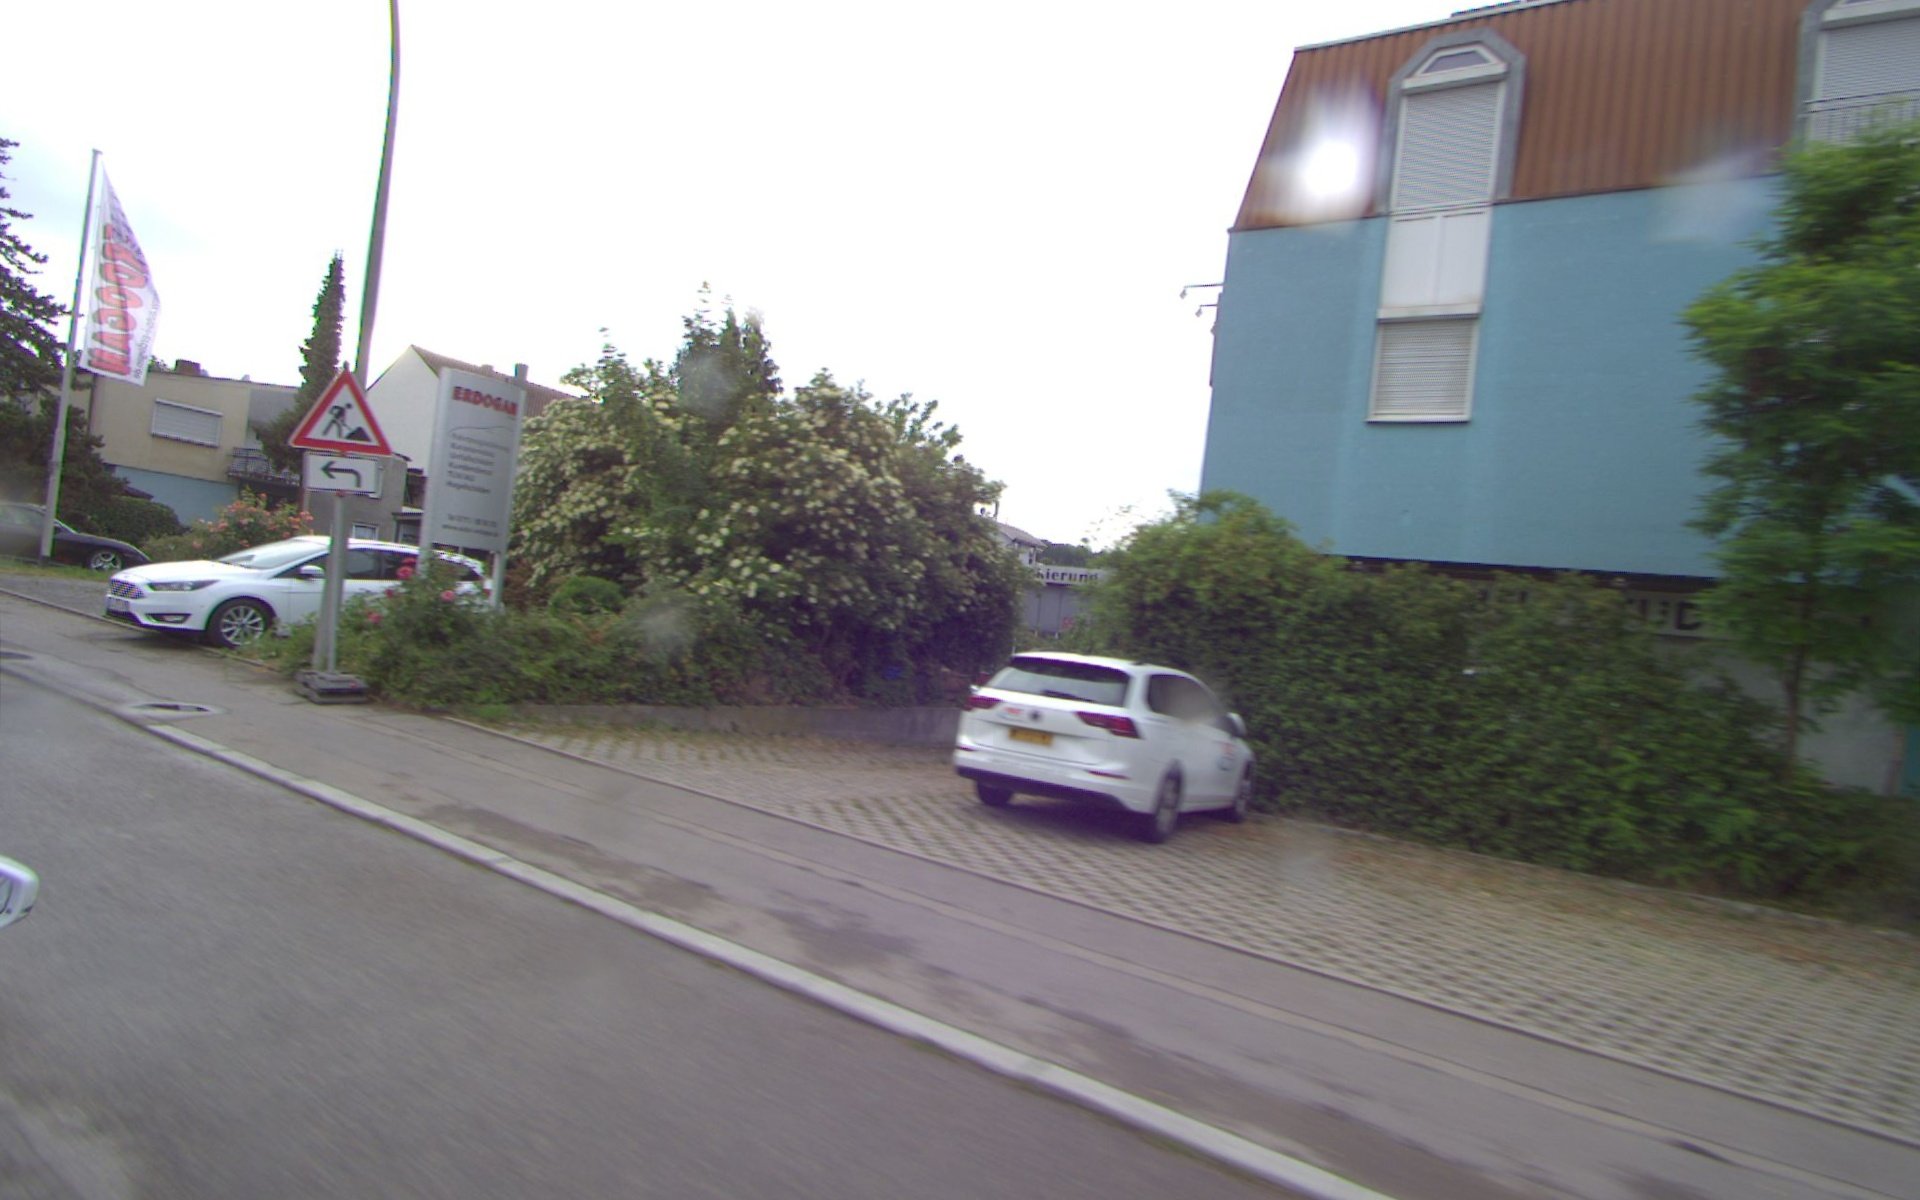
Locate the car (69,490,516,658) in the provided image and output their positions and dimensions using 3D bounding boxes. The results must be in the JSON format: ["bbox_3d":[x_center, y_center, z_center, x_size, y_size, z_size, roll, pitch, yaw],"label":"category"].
[{"bbox_3d":[-8.352,-0.221,13.058,1.871,1.492,4.349,7,-2,30],"label":"car"}]

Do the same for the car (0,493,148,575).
[{"bbox_3d":[-19.163,-1.479,20.167,1.919,1.280,3.995,6,-3,33],"label":"car"}]

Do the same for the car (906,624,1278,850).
[{"bbox_3d":[1.531,1.238,9.608,1.848,1.408,4.427,7,-3,30],"label":"car"}]

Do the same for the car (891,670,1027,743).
[{"bbox_3d":[-0.042,3.076,29.399,3.469,1.576,1.667,6,-2,31],"label":"car"}]

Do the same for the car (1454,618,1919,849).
[{"bbox_3d":[8.054,1.403,11.229,4.353,1.760,1.999,7,-2,29],"label":"car"}]
